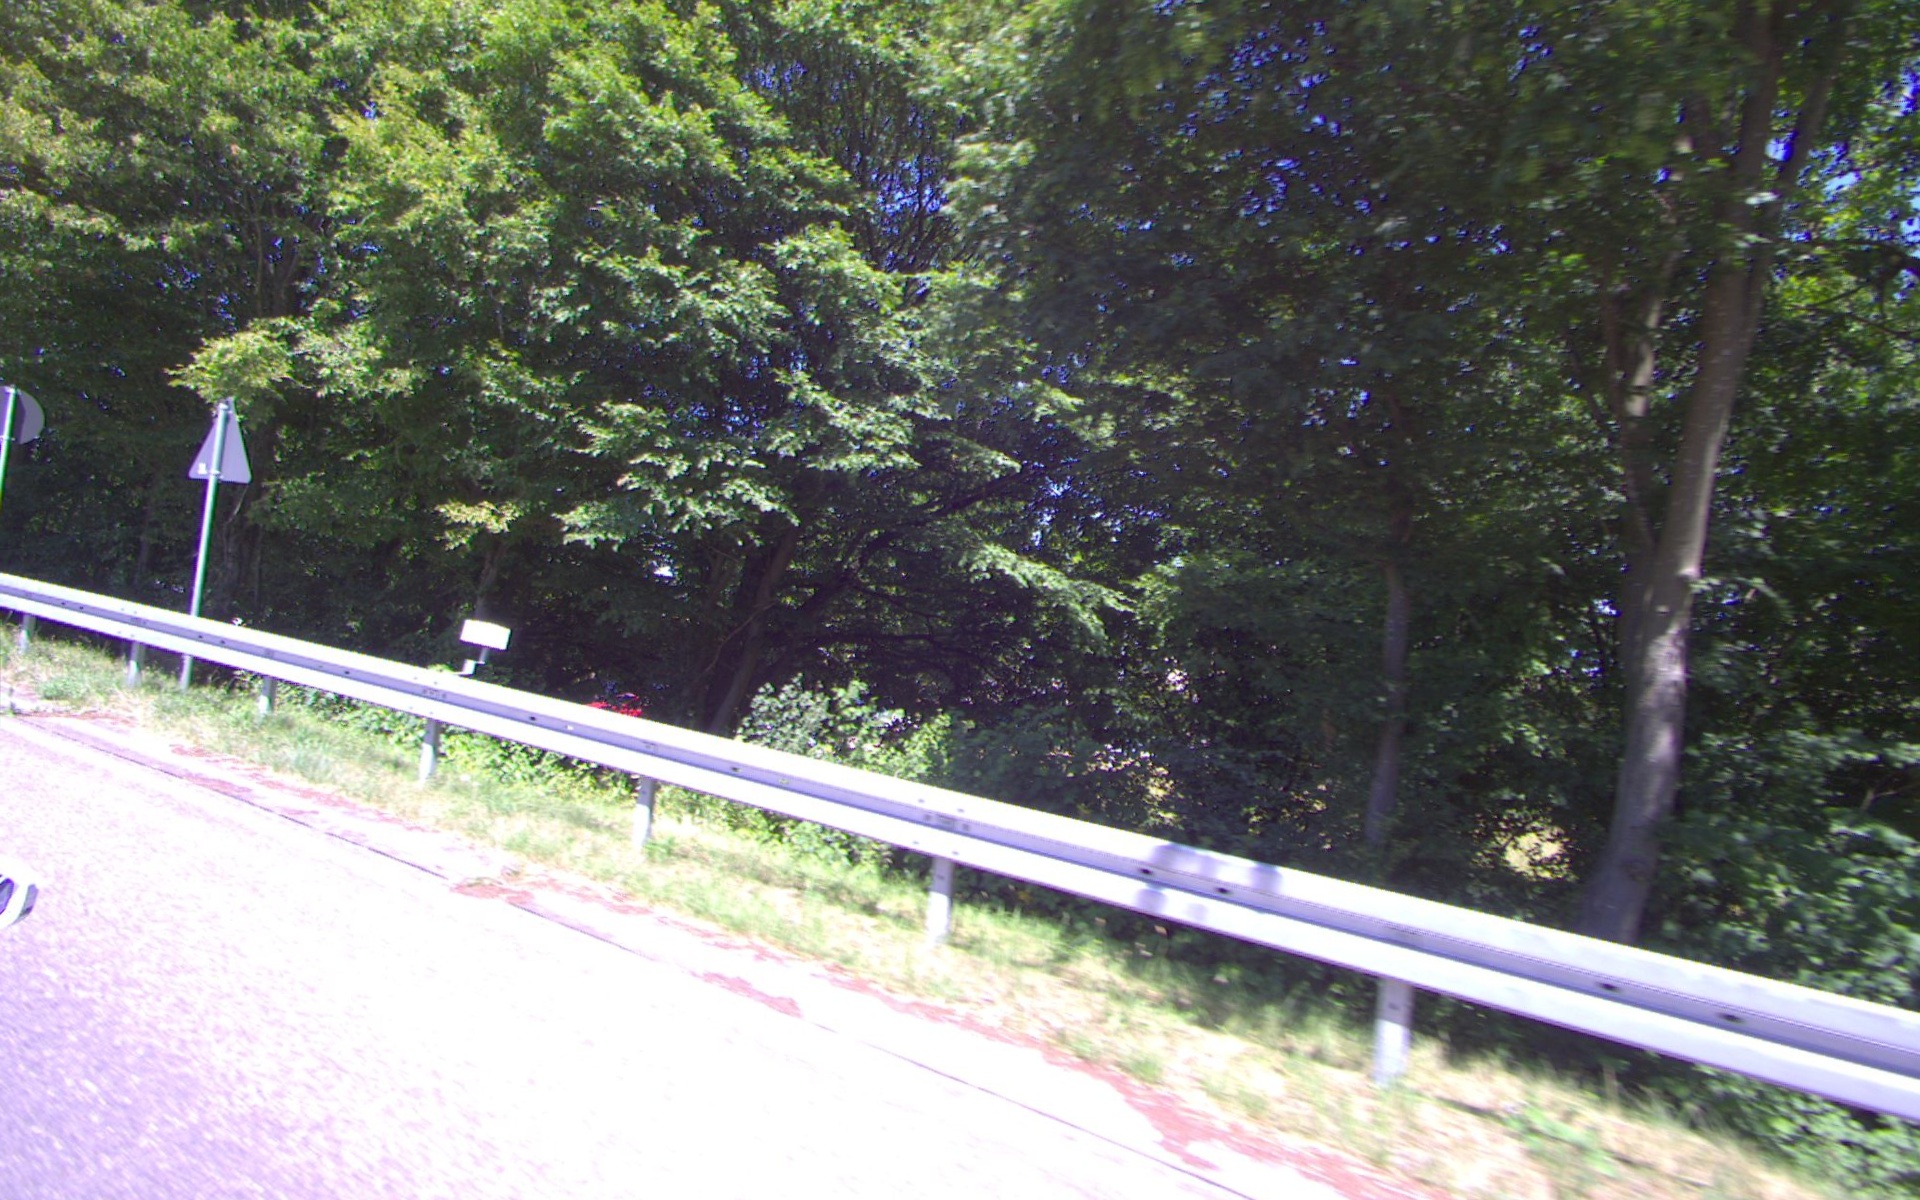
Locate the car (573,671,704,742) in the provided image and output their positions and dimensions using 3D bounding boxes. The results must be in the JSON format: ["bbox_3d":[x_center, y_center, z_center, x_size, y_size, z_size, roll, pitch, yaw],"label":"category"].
[{"bbox_3d":[-11.782,3.923,36.961,3.968,2.036,1.981,10,-3,-36],"label":"car"}]
